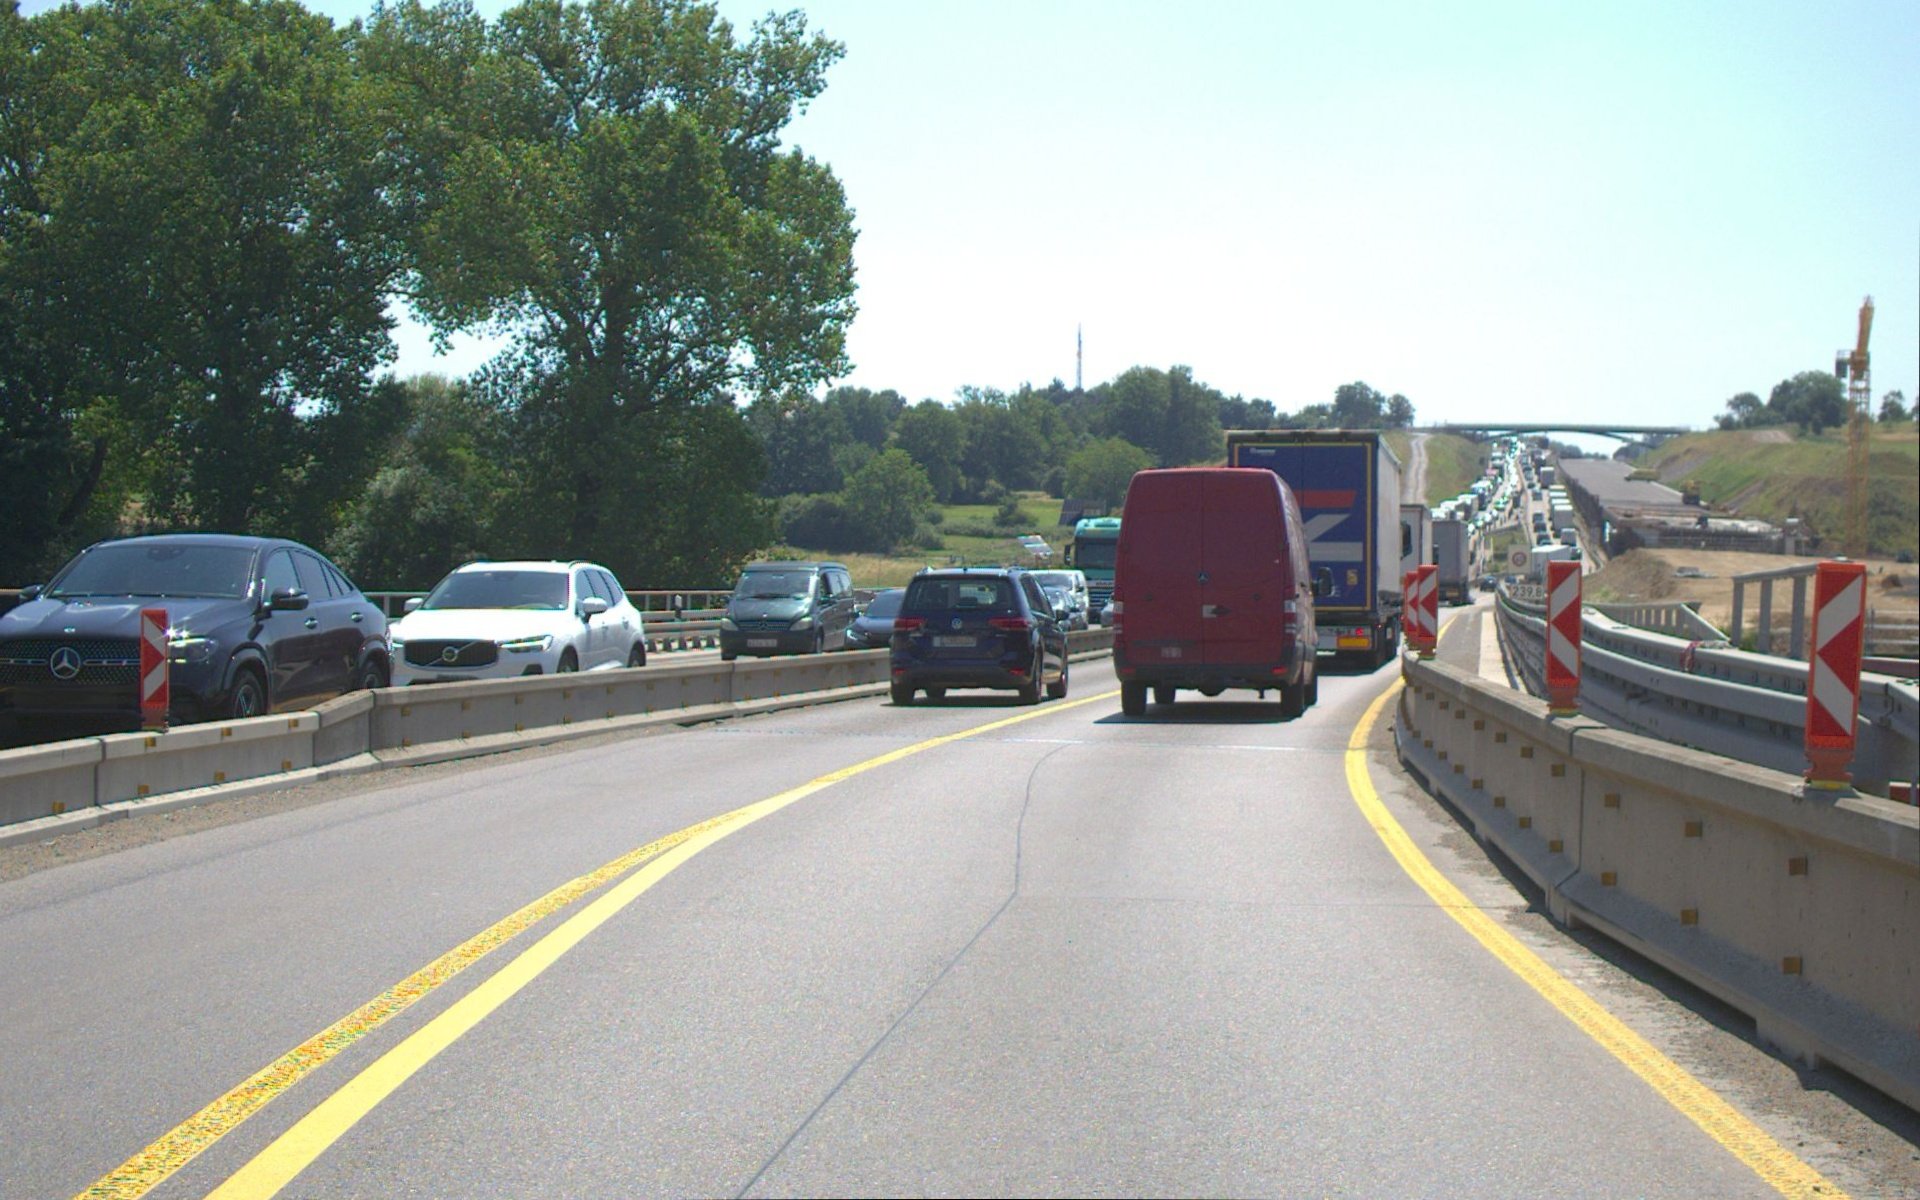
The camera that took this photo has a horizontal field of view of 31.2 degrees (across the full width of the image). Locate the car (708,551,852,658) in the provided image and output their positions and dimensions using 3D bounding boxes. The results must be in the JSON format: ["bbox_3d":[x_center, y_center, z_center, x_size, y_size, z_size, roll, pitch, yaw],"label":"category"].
[{"bbox_3d":[-3.408,0.083,66.116,1.821,1.936,5.062,1,0,8],"label":"car"}]

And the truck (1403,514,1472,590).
[{"bbox_3d":[23.007,-2.261,165.520,3.184,2.967,8.895,1,-3,8],"label":"truck"}]

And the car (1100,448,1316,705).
[{"bbox_3d":[2.787,-0.175,38.319,2.150,2.602,5.437,2,-1,5],"label":"car"}]

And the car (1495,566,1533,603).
[{"bbox_3d":[25.796,-0.722,160.135,1.618,1.694,3.888,1,0,8],"label":"car"}]

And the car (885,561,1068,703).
[{"bbox_3d":[0.260,0.371,42.373,1.734,1.630,4.388,1,0,7],"label":"car"}]

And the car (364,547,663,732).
[{"bbox_3d":[-4.463,0.335,35.044,1.821,1.641,4.569,1,2,8],"label":"car"}]

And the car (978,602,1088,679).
[{"bbox_3d":[1.553,0.823,71.900,1.757,1.491,4.438,1,0,8],"label":"car"}]

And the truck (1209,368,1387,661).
[{"bbox_3d":[6.127,-1.455,61.592,2.945,4.929,6.739,1,0,7],"label":"truck"}]

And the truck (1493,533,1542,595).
[{"bbox_3d":[29.157,-1.874,179.894,2.292,3.185,6.480,0,0,7],"label":"truck"}]

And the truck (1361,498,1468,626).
[{"bbox_3d":[14.648,-1.191,110.453,3.183,3.976,6.739,1,0,9],"label":"truck"}]

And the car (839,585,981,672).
[{"bbox_3d":[-0.793,0.454,57.426,1.669,1.360,4.438,1,0,8],"label":"car"}]

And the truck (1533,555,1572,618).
[{"bbox_3d":[38.749,-0.844,224.894,2.292,3.726,6.479,1,-3,8],"label":"truck"}]

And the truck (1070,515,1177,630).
[{"bbox_3d":[6.082,-0.980,125.877,2.809,3.950,12.130,1,0,8],"label":"truck"}]

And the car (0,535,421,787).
[{"bbox_3d":[-5.666,0.388,25.241,1.882,1.641,4.712,1,0,11],"label":"car"}]
